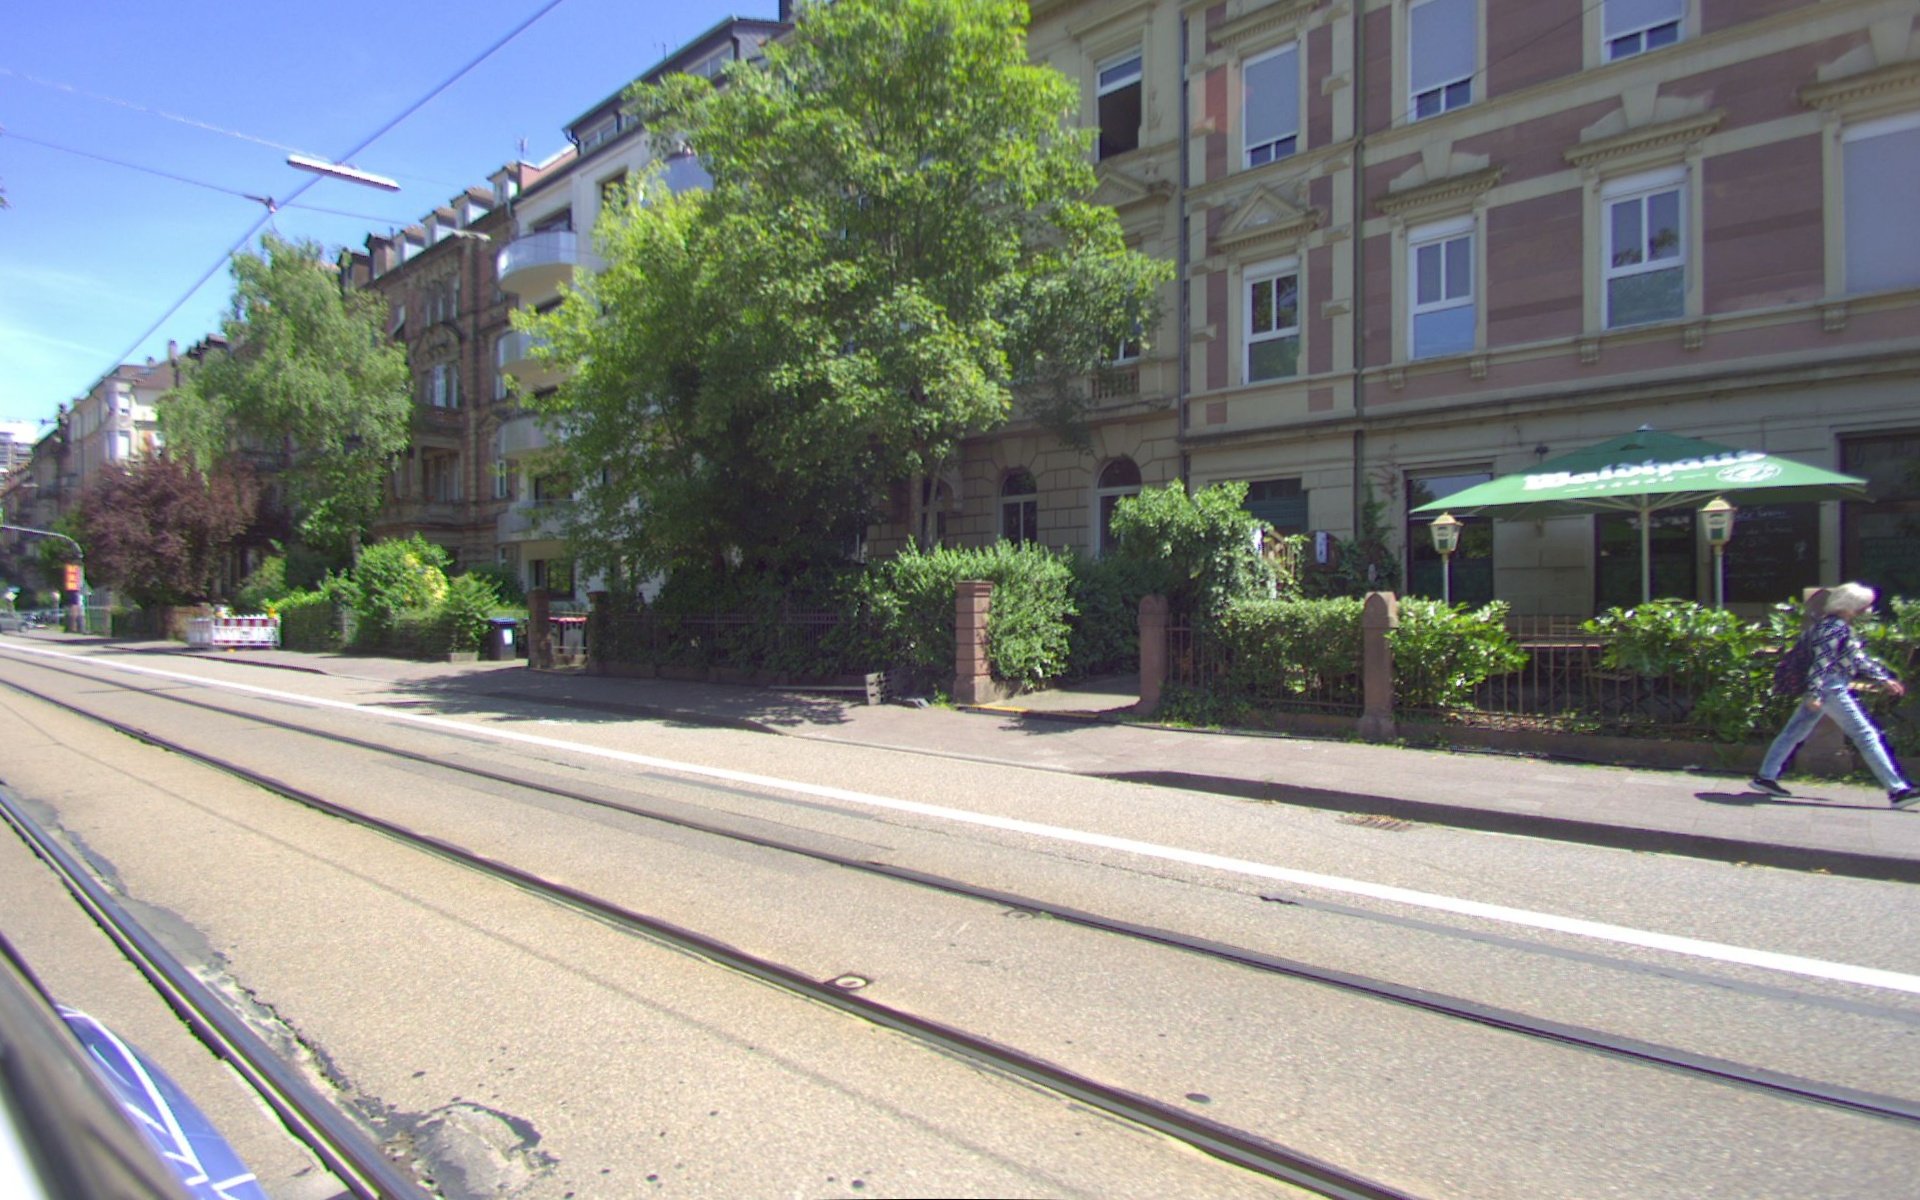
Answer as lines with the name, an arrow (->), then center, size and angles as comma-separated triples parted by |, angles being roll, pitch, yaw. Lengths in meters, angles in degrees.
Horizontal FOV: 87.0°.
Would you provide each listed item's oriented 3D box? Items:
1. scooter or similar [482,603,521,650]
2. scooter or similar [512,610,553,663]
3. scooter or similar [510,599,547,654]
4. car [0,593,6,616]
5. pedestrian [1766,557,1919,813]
scooter or similar -> -11.636, 0.671, 25.677 | 0.693, 1.166, 0.610 | 0, 0, 31
scooter or similar -> -9.571, 0.809, 22.663 | 0.694, 1.166, 0.609 | -1, -1, 38
scooter or similar -> -11.165, 0.674, 26.186 | 0.693, 1.410, 0.610 | 0, -1, 31
car -> -64.098, 0.290, 66.262 | 3.998, 1.487, 1.973 | 1, 1, 41
pedestrian -> 6.229, 0.546, 7.026 | 0.940, 1.654, 0.732 | 0, 0, 44
